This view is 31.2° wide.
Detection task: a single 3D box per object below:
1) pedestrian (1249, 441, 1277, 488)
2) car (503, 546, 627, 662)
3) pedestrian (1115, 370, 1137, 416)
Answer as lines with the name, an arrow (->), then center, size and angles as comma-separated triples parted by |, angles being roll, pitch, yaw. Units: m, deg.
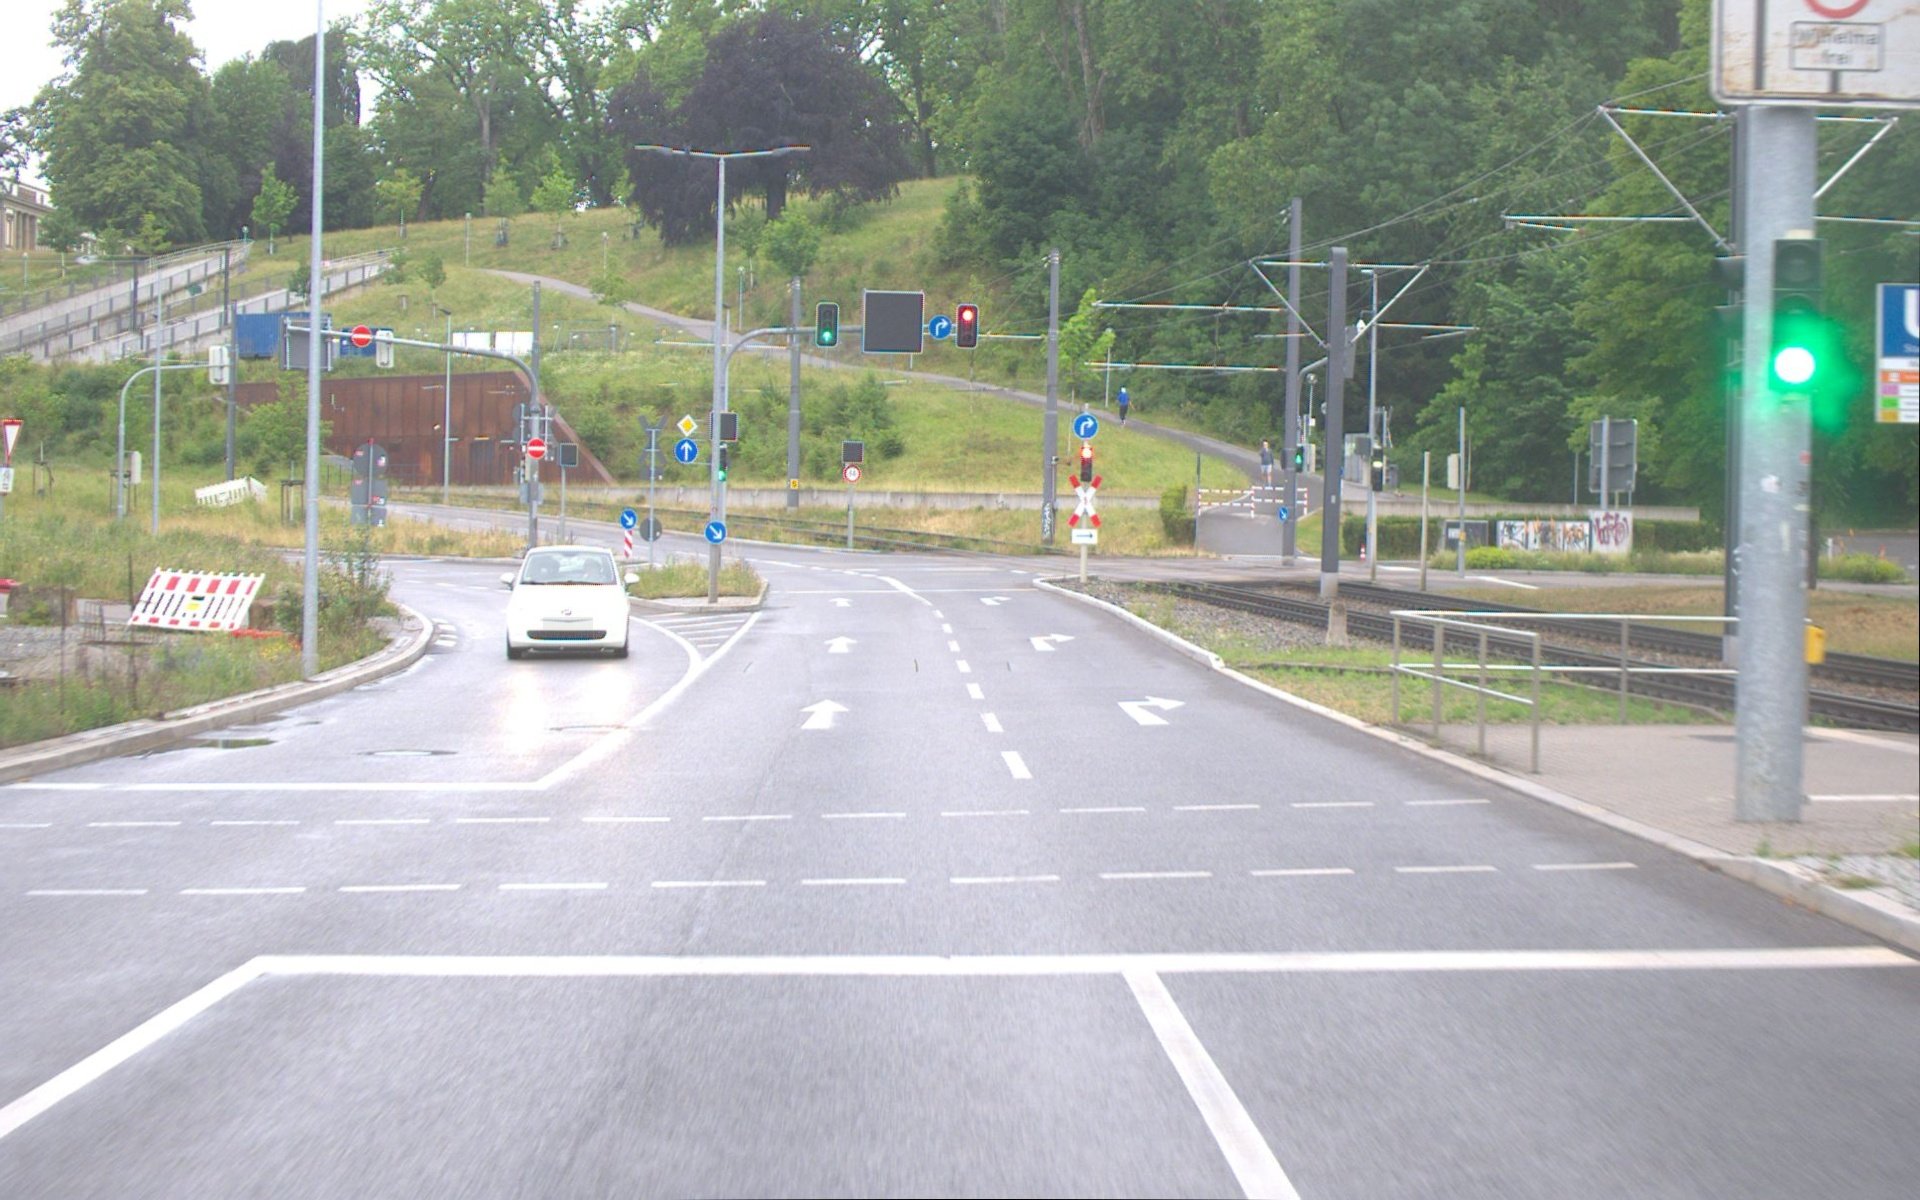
pedestrian -> 11.721, -5.246, 132.993 | 0.958, 1.775, 1.122 | 3, 3, 6
car -> -5.368, 0.021, 47.021 | 1.587, 1.486, 3.715 | 0, 1, -5
pedestrian -> 7.498, -9.334, 154.911 | 0.788, 2.006, 0.657 | -4, 8, -16
